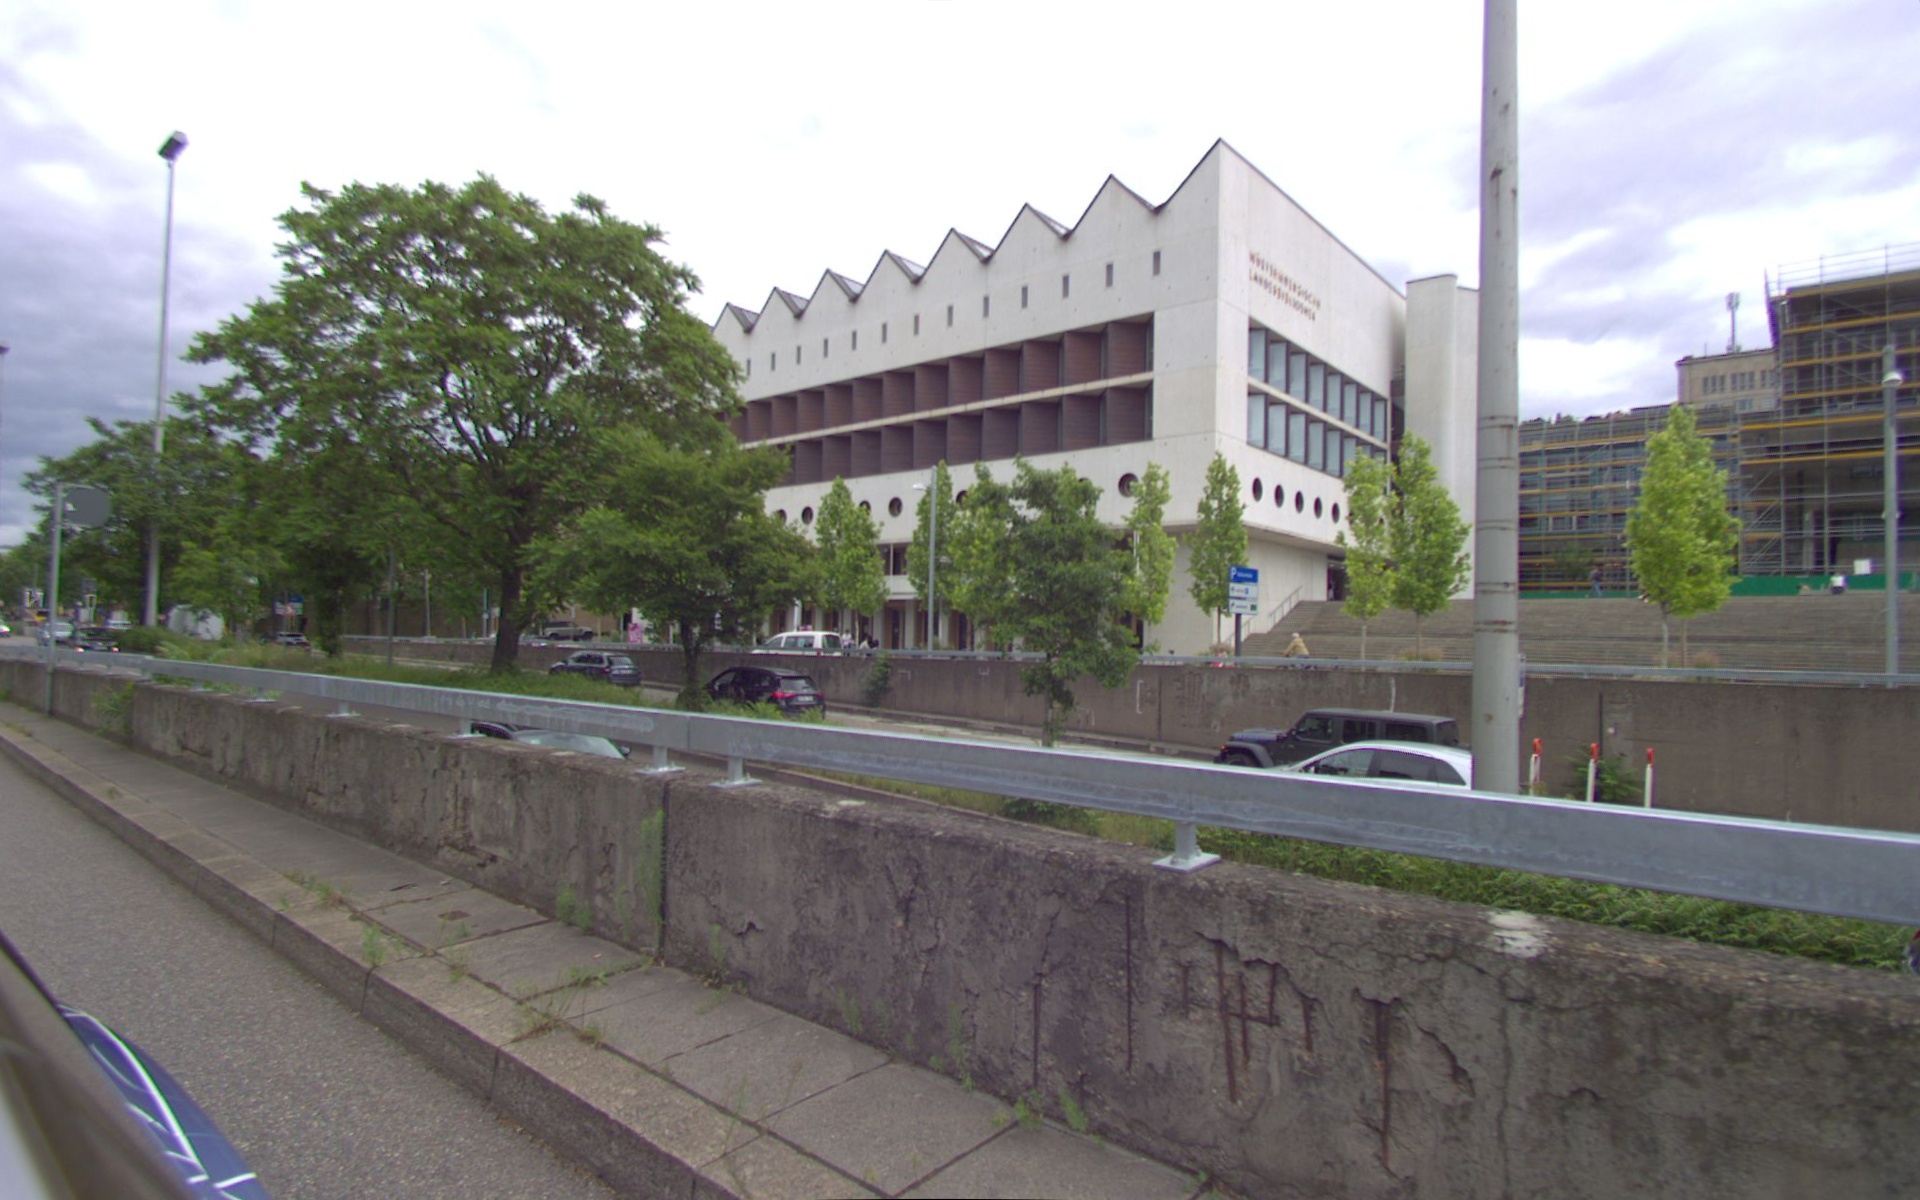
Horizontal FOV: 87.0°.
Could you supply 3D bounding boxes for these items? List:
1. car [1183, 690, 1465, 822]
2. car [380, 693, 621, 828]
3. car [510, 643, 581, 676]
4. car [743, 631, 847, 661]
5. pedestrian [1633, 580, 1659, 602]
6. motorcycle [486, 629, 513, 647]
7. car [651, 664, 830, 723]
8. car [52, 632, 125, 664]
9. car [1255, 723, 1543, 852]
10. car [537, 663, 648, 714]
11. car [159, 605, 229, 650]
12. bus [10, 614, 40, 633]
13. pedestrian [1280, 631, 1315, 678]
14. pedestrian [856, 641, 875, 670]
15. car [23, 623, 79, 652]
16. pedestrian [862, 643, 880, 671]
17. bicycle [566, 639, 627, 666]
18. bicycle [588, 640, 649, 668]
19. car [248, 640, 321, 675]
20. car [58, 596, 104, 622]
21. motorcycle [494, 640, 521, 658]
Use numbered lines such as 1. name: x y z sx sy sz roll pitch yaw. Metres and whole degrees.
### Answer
1. car: 7.020 2.906 19.822 4.897 1.911 1.800 0 0 38
2. car: -7.313 2.398 15.950 4.147 1.527 1.746 0 -1 38
3. car: -23.577 3.356 57.511 4.387 1.730 1.839 -1 -4 39
4. car: -7.171 1.949 43.715 4.805 1.127 1.790 0 0 41
5. pedestrian: 29.831 -0.400 44.025 0.859 0.890 0.635 0 3 41
6. motorcycle: -33.239 2.763 73.056 0.653 1.243 1.879 2 -2 17
7. car: -5.804 2.381 26.486 4.843 1.151 1.974 0 0 38
8. car: -42.752 2.339 49.605 4.806 1.494 1.973 -1 -3 41
9. car: 6.793 2.818 15.866 3.819 1.282 1.680 1 1 41
10. car: -13.769 3.243 37.838 4.576 1.550 1.860 0 0 39
11. car: -46.889 1.621 61.898 6.056 2.543 2.300 1 1 42
12. bus: -173.483 4.324 187.785 10.443 3.330 2.882 -1 -3 41
13. pedestrian: 12.095 1.937 36.266 1.004 1.653 0.727 -2 -3 41
14. pedestrian: -5.300 3.141 56.833 0.899 1.535 0.634 3 -8 0
15. car: -53.878 2.219 59.959 3.998 1.658 1.973 -2 -2 41
16. pedestrian: -5.113 3.284 58.154 0.899 1.535 0.634 2 -8 -1
17. bicycle: -23.534 3.424 65.540 1.182 1.697 3.576 -2 -4 40
18. bicycle: -21.645 3.444 64.267 1.182 1.697 3.576 -2 -4 40
19. car: -33.451 2.806 50.096 3.994 1.498 1.883 0 0 38
20. car: -63.584 0.699 73.222 4.443 1.730 1.838 -1 -4 41
21. motorcycle: -32.241 3.501 72.159 0.653 1.243 1.879 2 -2 17
